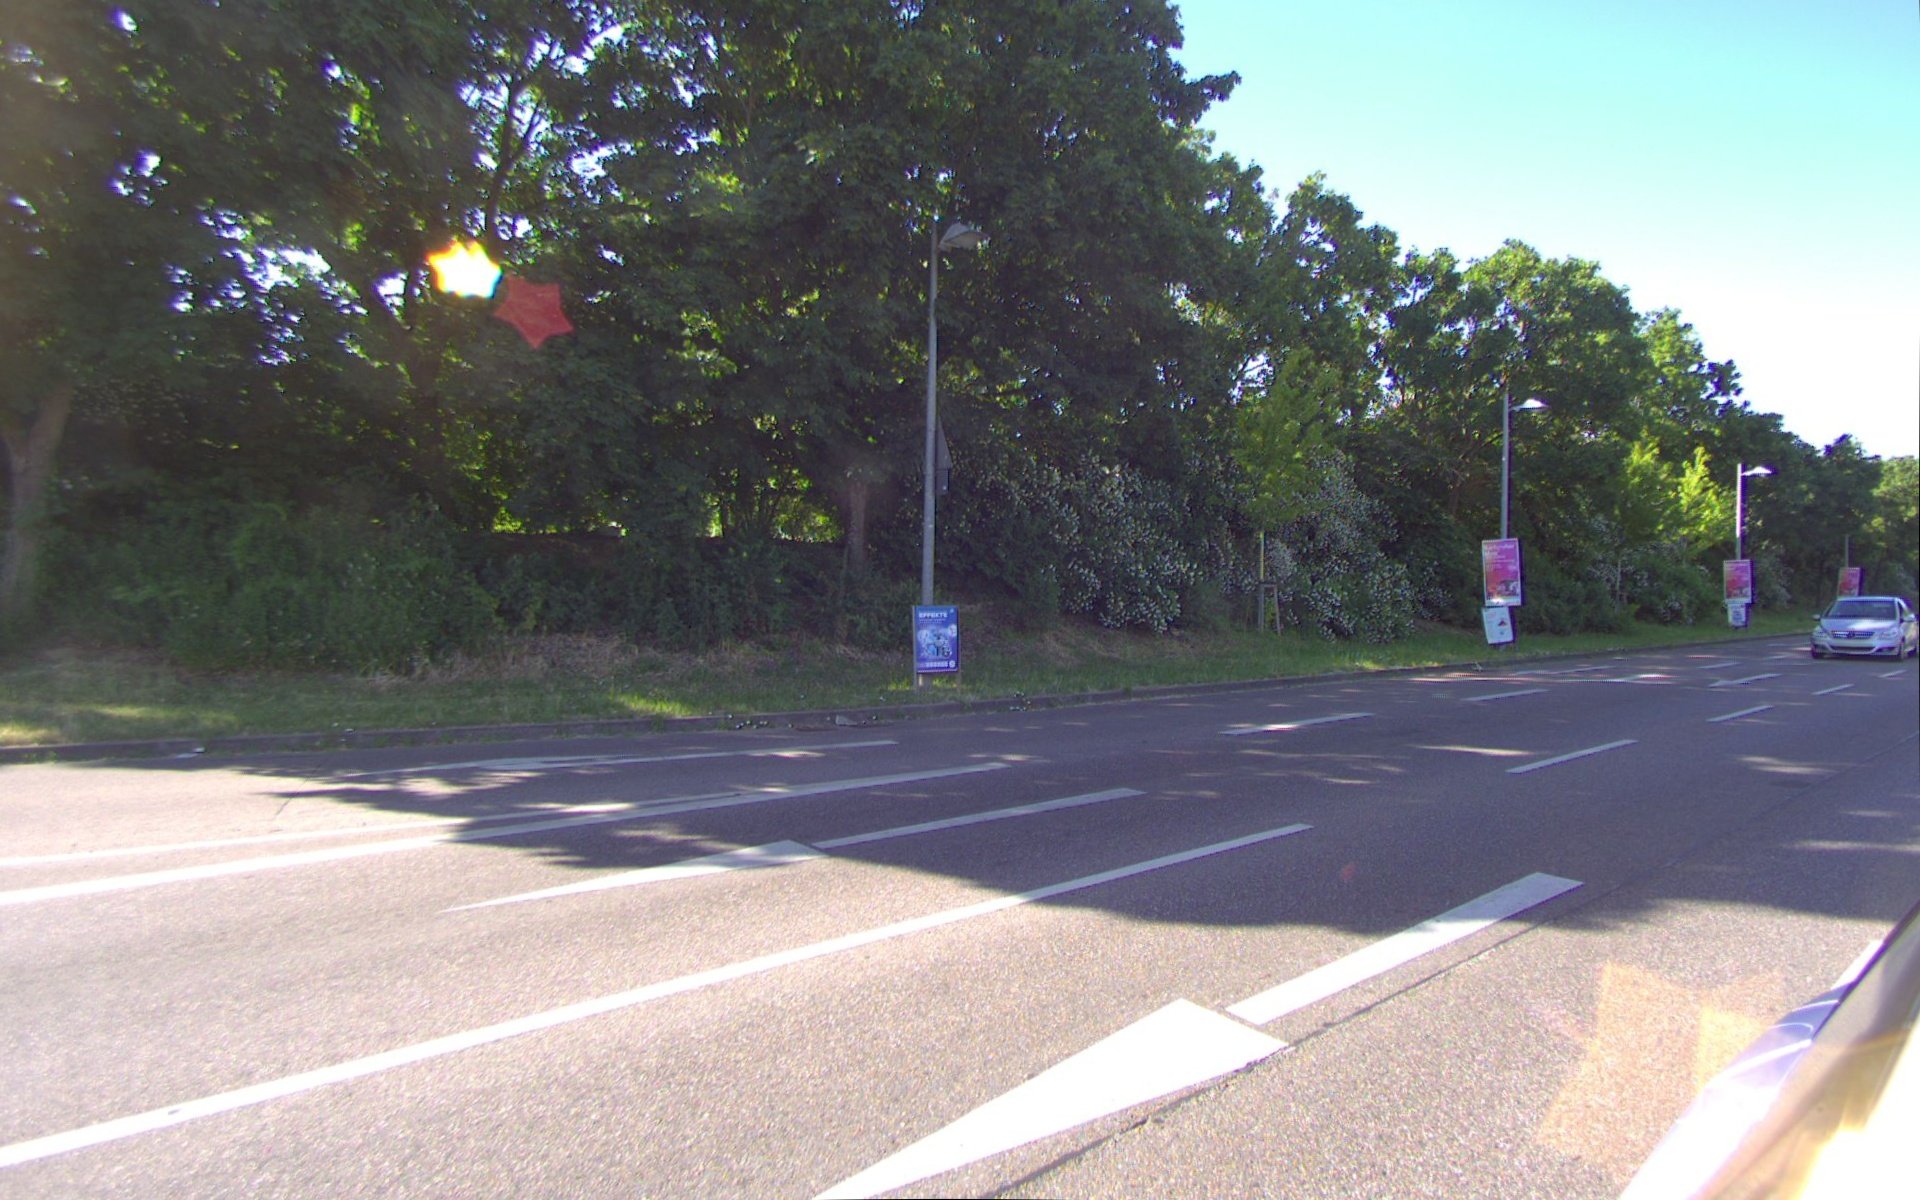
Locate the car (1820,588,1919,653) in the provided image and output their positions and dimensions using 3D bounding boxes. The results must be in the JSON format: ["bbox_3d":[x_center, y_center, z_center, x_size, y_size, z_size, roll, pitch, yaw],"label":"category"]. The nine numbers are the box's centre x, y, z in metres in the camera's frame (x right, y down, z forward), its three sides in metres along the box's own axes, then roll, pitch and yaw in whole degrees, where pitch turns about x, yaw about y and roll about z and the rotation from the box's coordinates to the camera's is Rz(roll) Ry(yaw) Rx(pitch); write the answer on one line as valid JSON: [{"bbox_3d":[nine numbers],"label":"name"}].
[{"bbox_3d":[23.782,0.488,26.120,3.987,1.560,1.672,0,0,-39],"label":"car"}]
